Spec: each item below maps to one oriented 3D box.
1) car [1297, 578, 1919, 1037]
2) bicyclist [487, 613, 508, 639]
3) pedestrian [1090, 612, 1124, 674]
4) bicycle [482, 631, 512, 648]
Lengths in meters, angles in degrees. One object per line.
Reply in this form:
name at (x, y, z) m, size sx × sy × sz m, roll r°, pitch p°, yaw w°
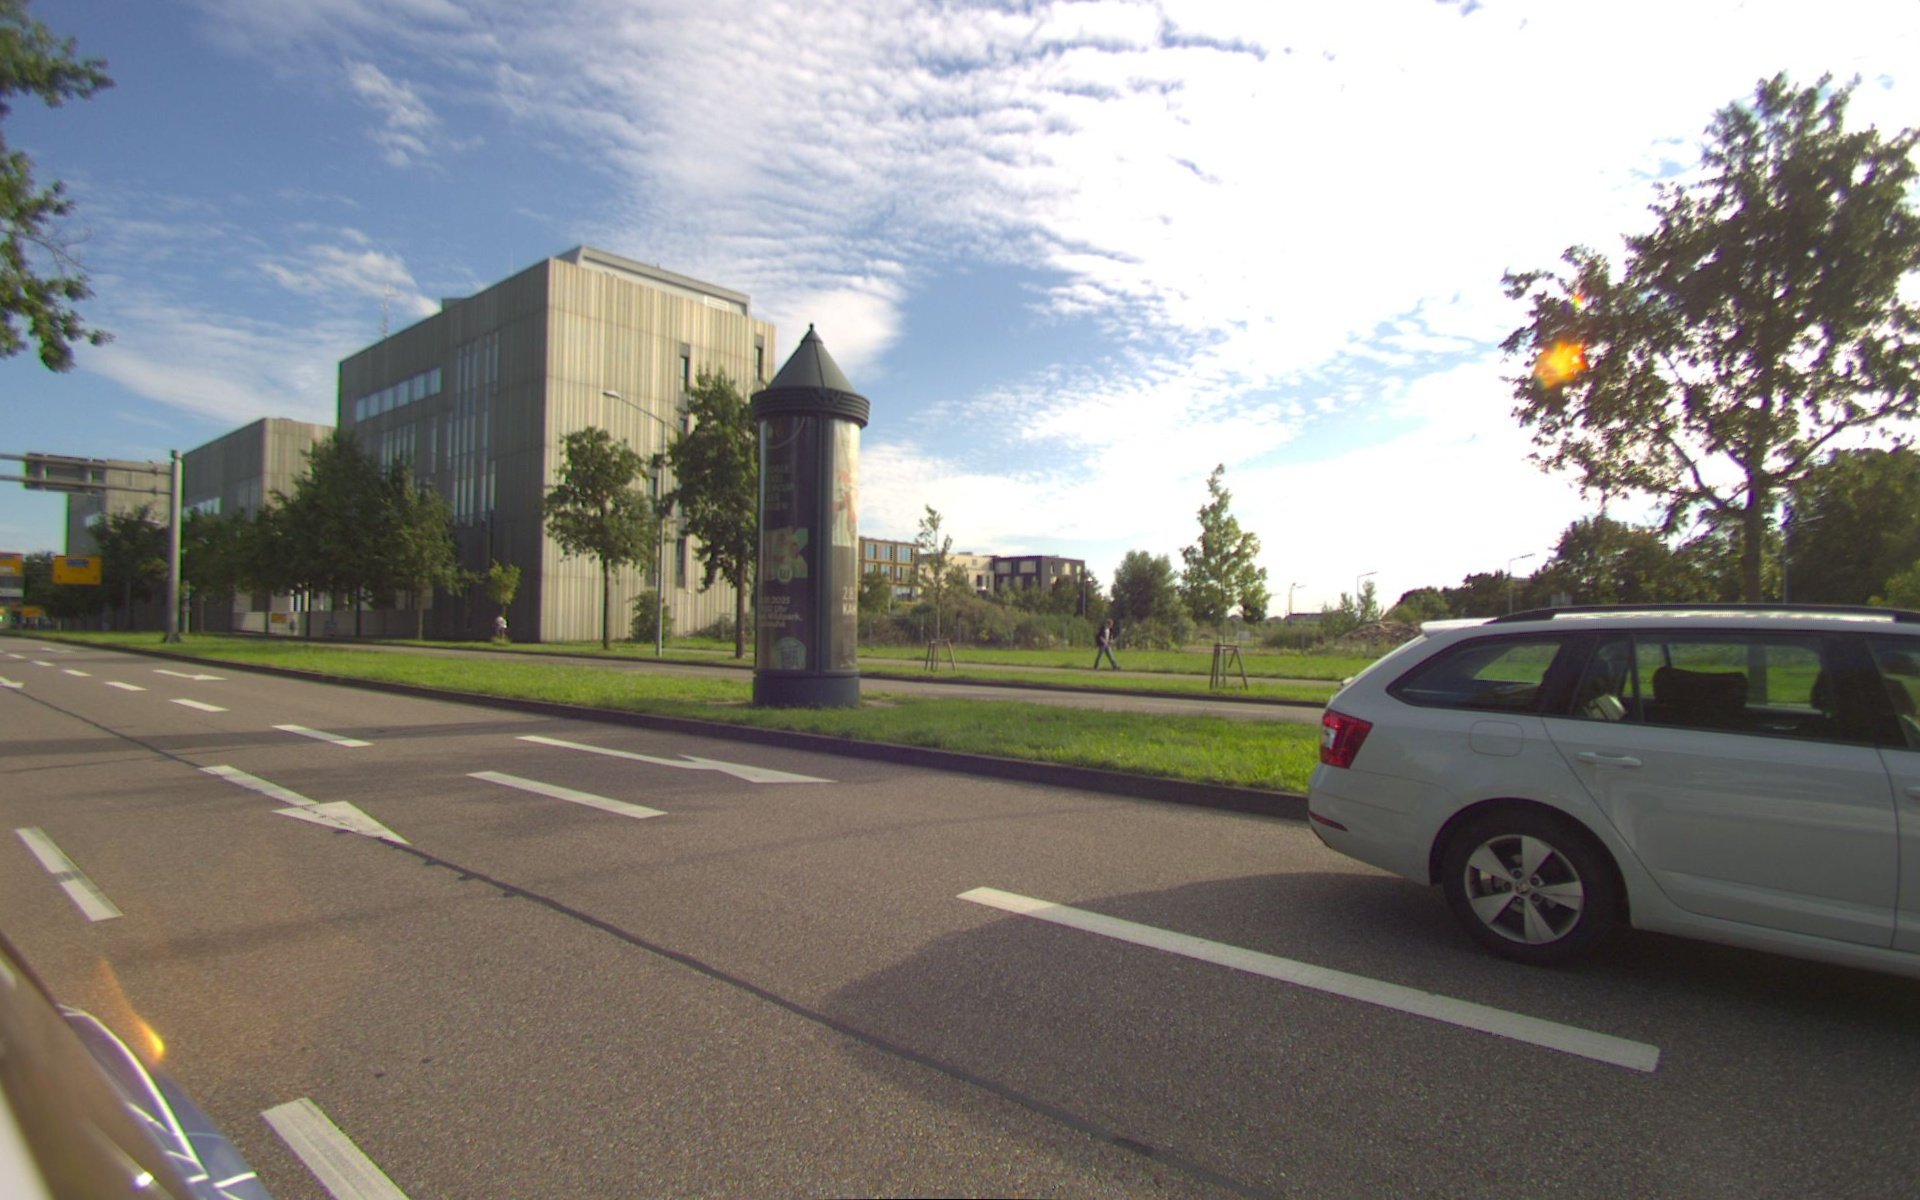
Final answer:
car at (3.802, 0.689, 3.883) m, size 4.479 × 1.510 × 1.681 m, roll -1°, pitch -1°, yaw 41°
bicyclist at (-27.249, 1.517, 59.622) m, size 0.989 × 1.537 × 0.698 m, roll -1°, pitch -3°, yaw 41°
pedestrian at (4.870, 1.425, 33.505) m, size 0.867 × 2.029 × 0.667 m, roll -1°, pitch -3°, yaw 41°
bicycle at (-27.312, 2.328, 59.637) m, size 1.910 × 0.989 × 0.885 m, roll -1°, pitch -3°, yaw 41°
